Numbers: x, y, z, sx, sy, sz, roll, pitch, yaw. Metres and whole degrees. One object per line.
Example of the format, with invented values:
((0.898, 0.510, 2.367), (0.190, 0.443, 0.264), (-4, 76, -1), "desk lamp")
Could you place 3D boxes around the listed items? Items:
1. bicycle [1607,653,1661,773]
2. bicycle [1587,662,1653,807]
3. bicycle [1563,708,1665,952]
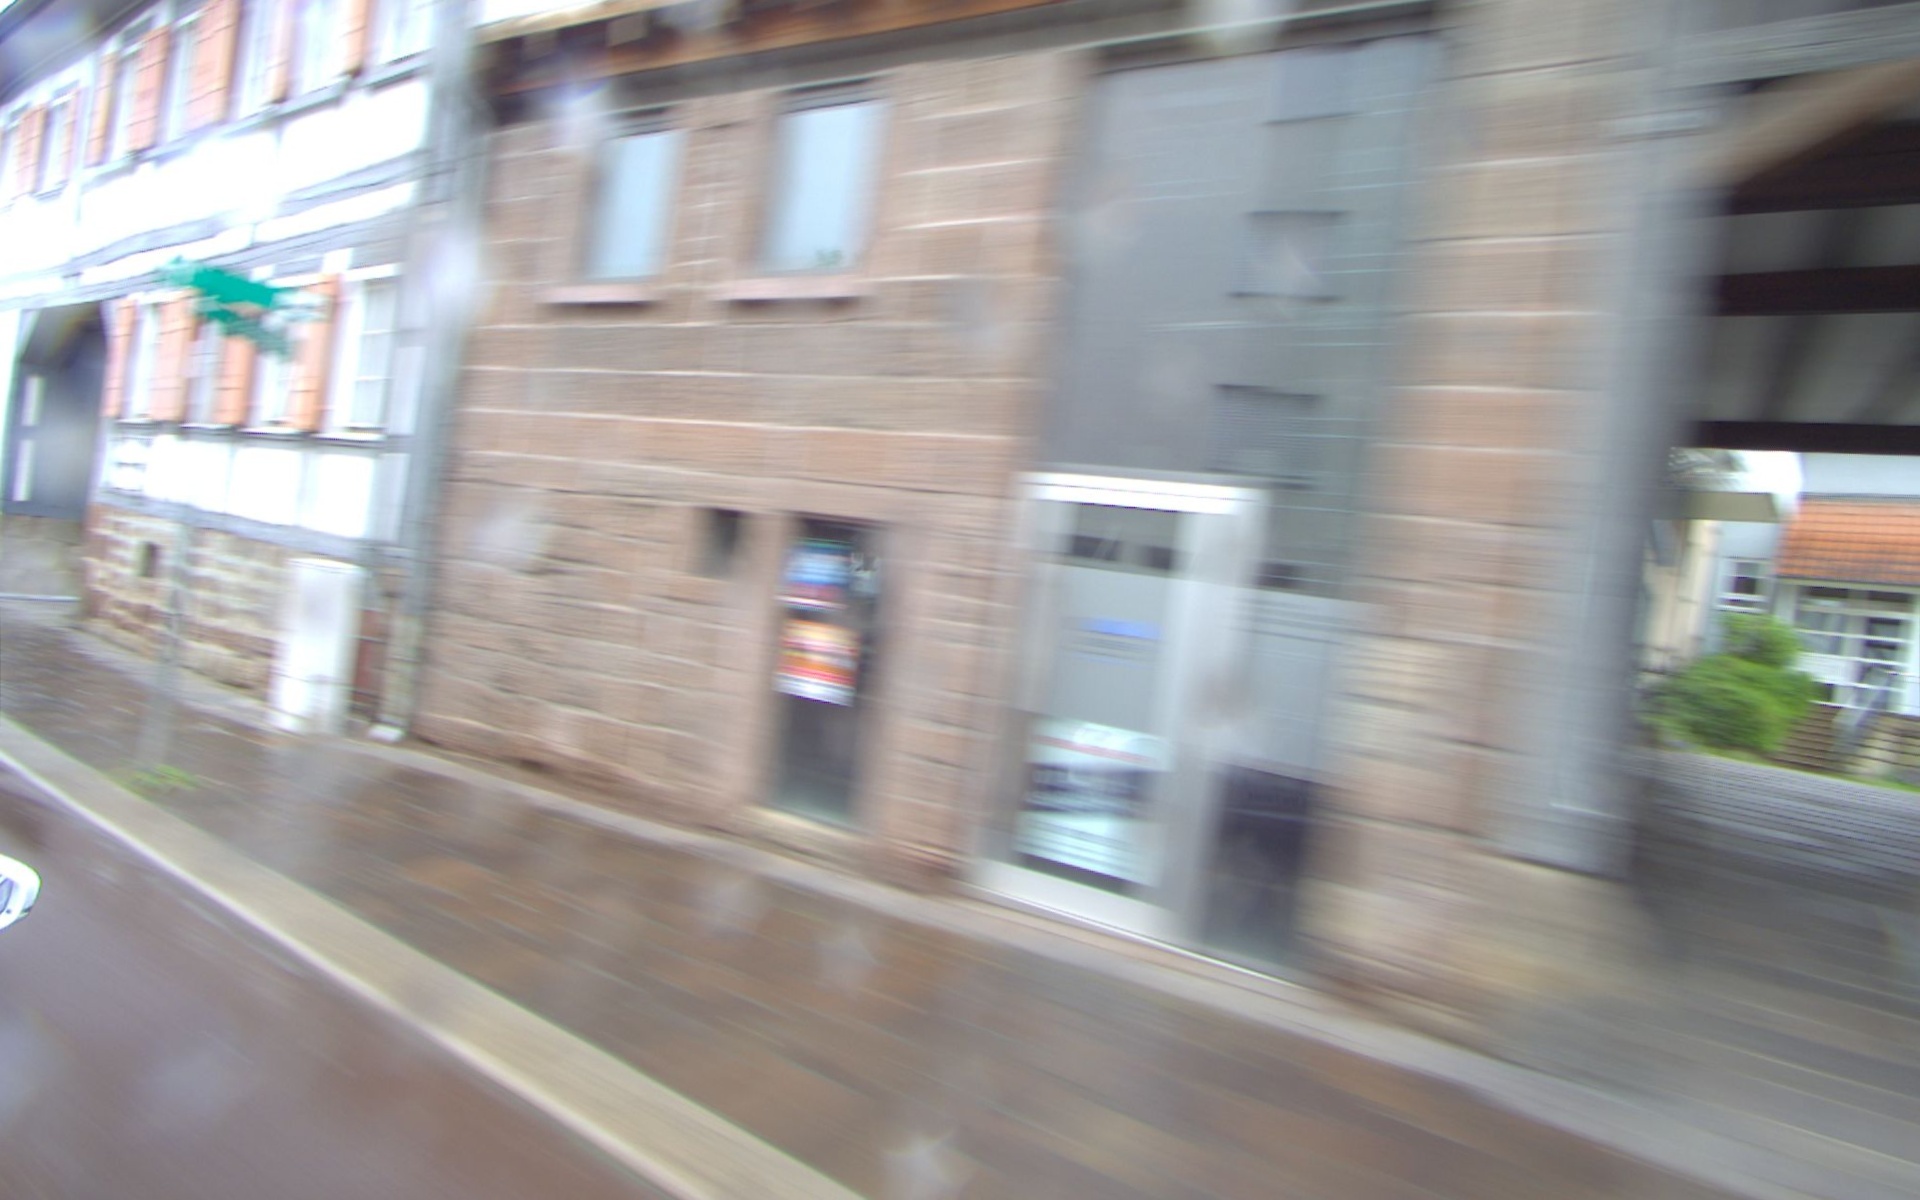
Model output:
((6.039, 0.975, 9.044), (0.288, 0.895, 1.400), (6, 5, 32), "bicycle")
((5.111, 0.997, 7.813), (0.288, 0.896, 1.399), (9, 7, 32), "bicycle")
((3.386, 1.120, 5.225), (0.288, 0.896, 1.399), (8, 8, 32), "bicycle")
